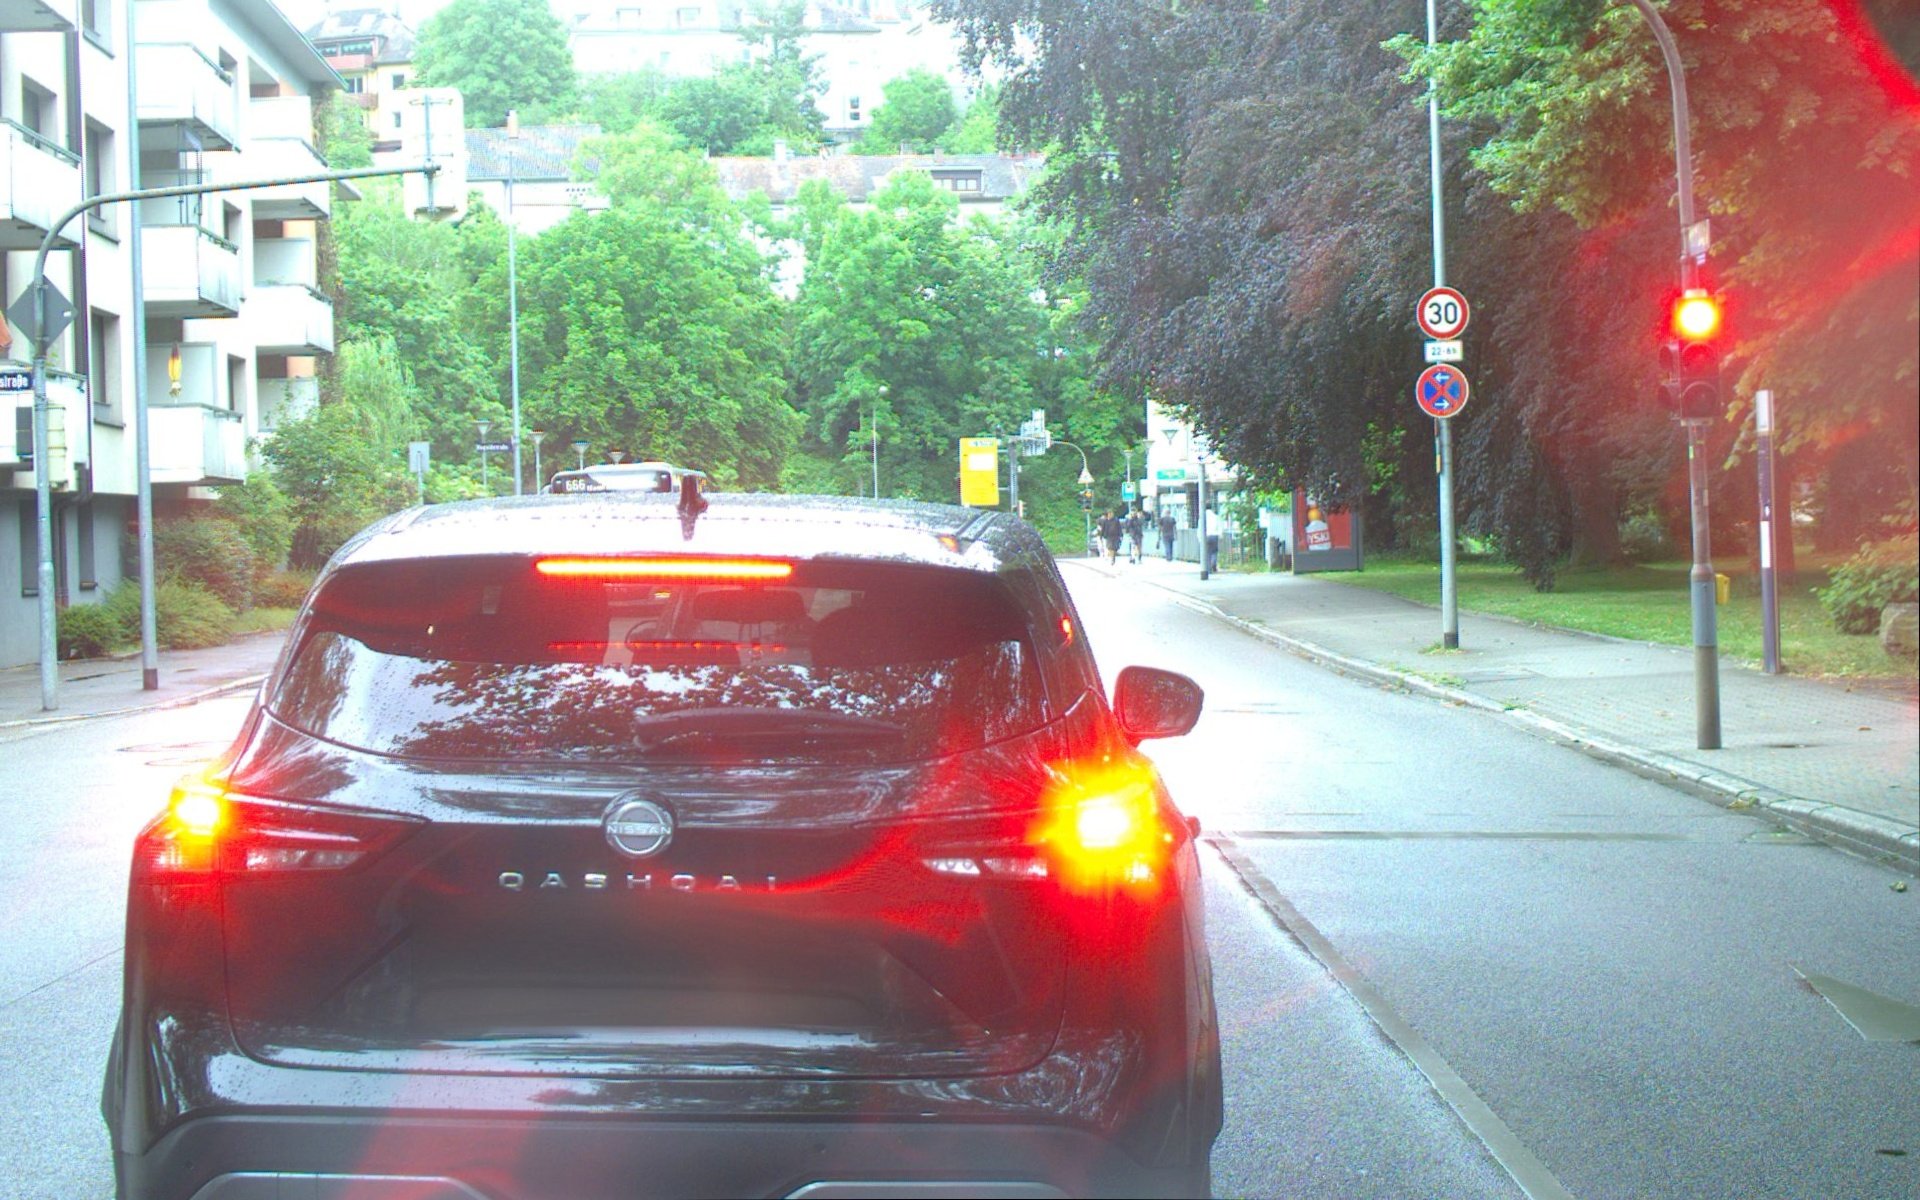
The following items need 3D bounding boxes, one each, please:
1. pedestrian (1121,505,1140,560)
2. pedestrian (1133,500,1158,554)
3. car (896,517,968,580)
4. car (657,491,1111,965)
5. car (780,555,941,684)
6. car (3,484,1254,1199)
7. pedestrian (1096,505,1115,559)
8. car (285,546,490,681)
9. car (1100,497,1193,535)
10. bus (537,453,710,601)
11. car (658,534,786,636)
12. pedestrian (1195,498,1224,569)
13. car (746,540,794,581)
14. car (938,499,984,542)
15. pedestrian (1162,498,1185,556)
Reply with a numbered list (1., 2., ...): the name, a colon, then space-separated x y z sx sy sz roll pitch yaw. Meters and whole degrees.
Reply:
1. pedestrian: 5.162 -2.029 103.958 0.514 1.650 0.550 1 0 -1
2. pedestrian: 5.698 -2.248 105.474 0.699 1.645 0.628 1 0 0
3. car: -0.657 -1.252 82.647 1.624 1.410 3.455 -2 1 0
4. car: -0.248 0.437 14.661 1.622 1.703 3.771 -2 1 1
5. car: -1.187 0.194 40.953 1.808 1.412 4.031 0 1 -2
6. car: -0.508 0.616 7.007 1.806 1.584 4.000 1 1 -1
7. pedestrian: 4.462 -2.077 105.279 0.544 1.645 0.490 1 0 0
8. car: -6.751 0.123 40.935 1.808 1.412 4.031 -3 1 -2
9. car: 8.872 -3.995 163.576 3.986 1.678 2.001 -2 1 -10
10. bus: -7.369 -1.604 76.761 2.766 2.964 11.782 -2 1 -1
11. car: -3.527 -0.253 51.469 1.624 1.410 3.455 -2 1 0
12. pedestrian: 6.364 -1.706 87.780 0.618 1.773 0.778 -2 1 -1
13. car: -7.372 -1.553 133.537 1.676 1.464 4.217 -3 1 -2
14. car: 0.021 -3.143 136.511 1.750 1.628 3.635 -2 1 0
15. pedestrian: 6.605 -2.253 106.479 0.618 1.773 0.551 -2 1 -1
